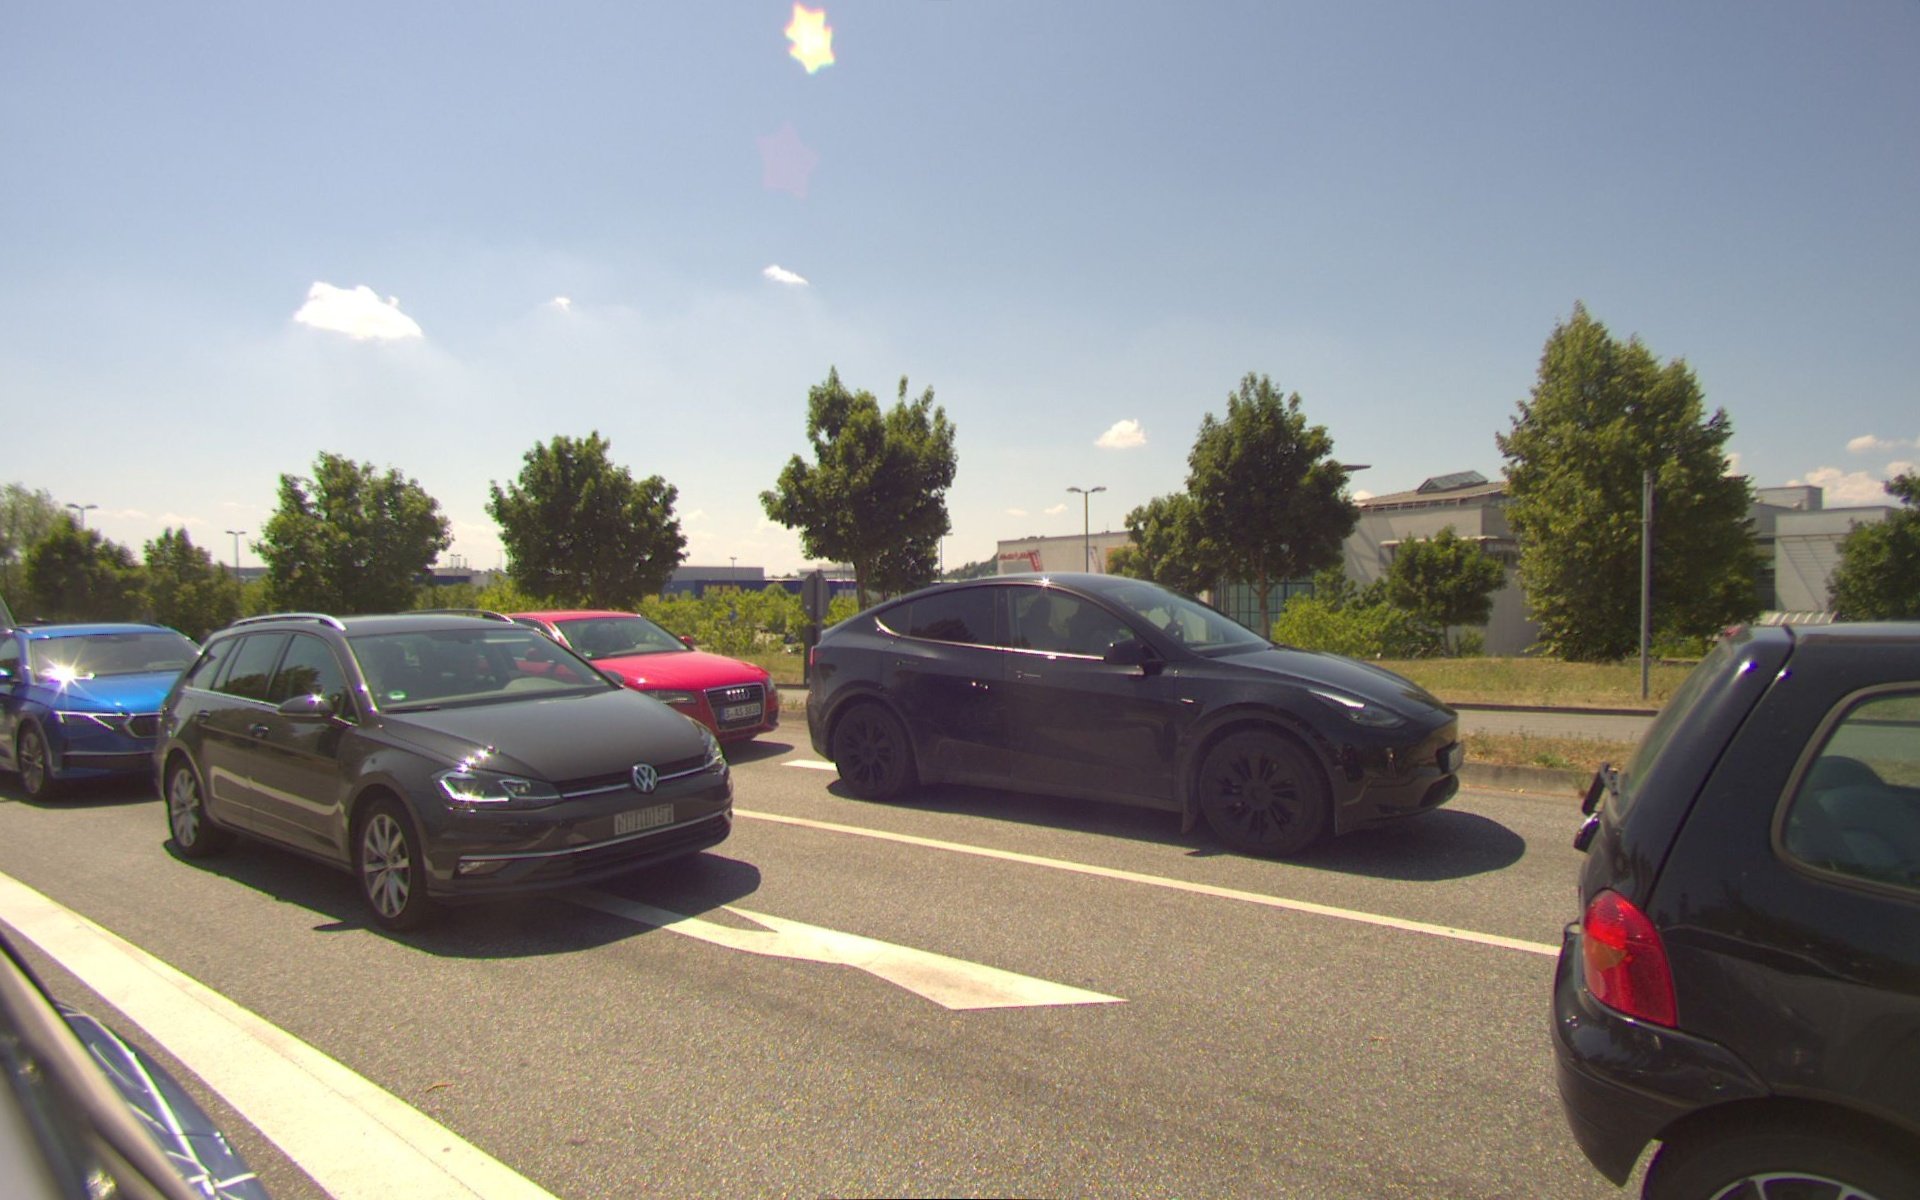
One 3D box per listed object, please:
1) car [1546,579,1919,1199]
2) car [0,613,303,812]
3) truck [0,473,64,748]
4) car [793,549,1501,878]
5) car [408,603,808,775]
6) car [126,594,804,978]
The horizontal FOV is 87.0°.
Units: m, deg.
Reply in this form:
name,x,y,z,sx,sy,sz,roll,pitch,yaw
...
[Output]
name,x,y,z,sx,sy,sz,roll,pitch,yaw
car,2.881,0.665,1.523,3.295,1.418,1.604,-1,0,37
car,-8.322,0.942,9.640,4.474,1.473,1.695,-2,0,32
truck,-15.111,0.276,13.718,7.176,3.373,2.390,-3,-1,31
car,1.106,0.577,7.042,4.496,1.613,1.859,-1,0,36
car,-3.770,0.777,10.482,4.440,1.399,1.646,-1,1,36
car,-3.131,0.760,5.992,4.420,1.493,1.762,-1,0,36
